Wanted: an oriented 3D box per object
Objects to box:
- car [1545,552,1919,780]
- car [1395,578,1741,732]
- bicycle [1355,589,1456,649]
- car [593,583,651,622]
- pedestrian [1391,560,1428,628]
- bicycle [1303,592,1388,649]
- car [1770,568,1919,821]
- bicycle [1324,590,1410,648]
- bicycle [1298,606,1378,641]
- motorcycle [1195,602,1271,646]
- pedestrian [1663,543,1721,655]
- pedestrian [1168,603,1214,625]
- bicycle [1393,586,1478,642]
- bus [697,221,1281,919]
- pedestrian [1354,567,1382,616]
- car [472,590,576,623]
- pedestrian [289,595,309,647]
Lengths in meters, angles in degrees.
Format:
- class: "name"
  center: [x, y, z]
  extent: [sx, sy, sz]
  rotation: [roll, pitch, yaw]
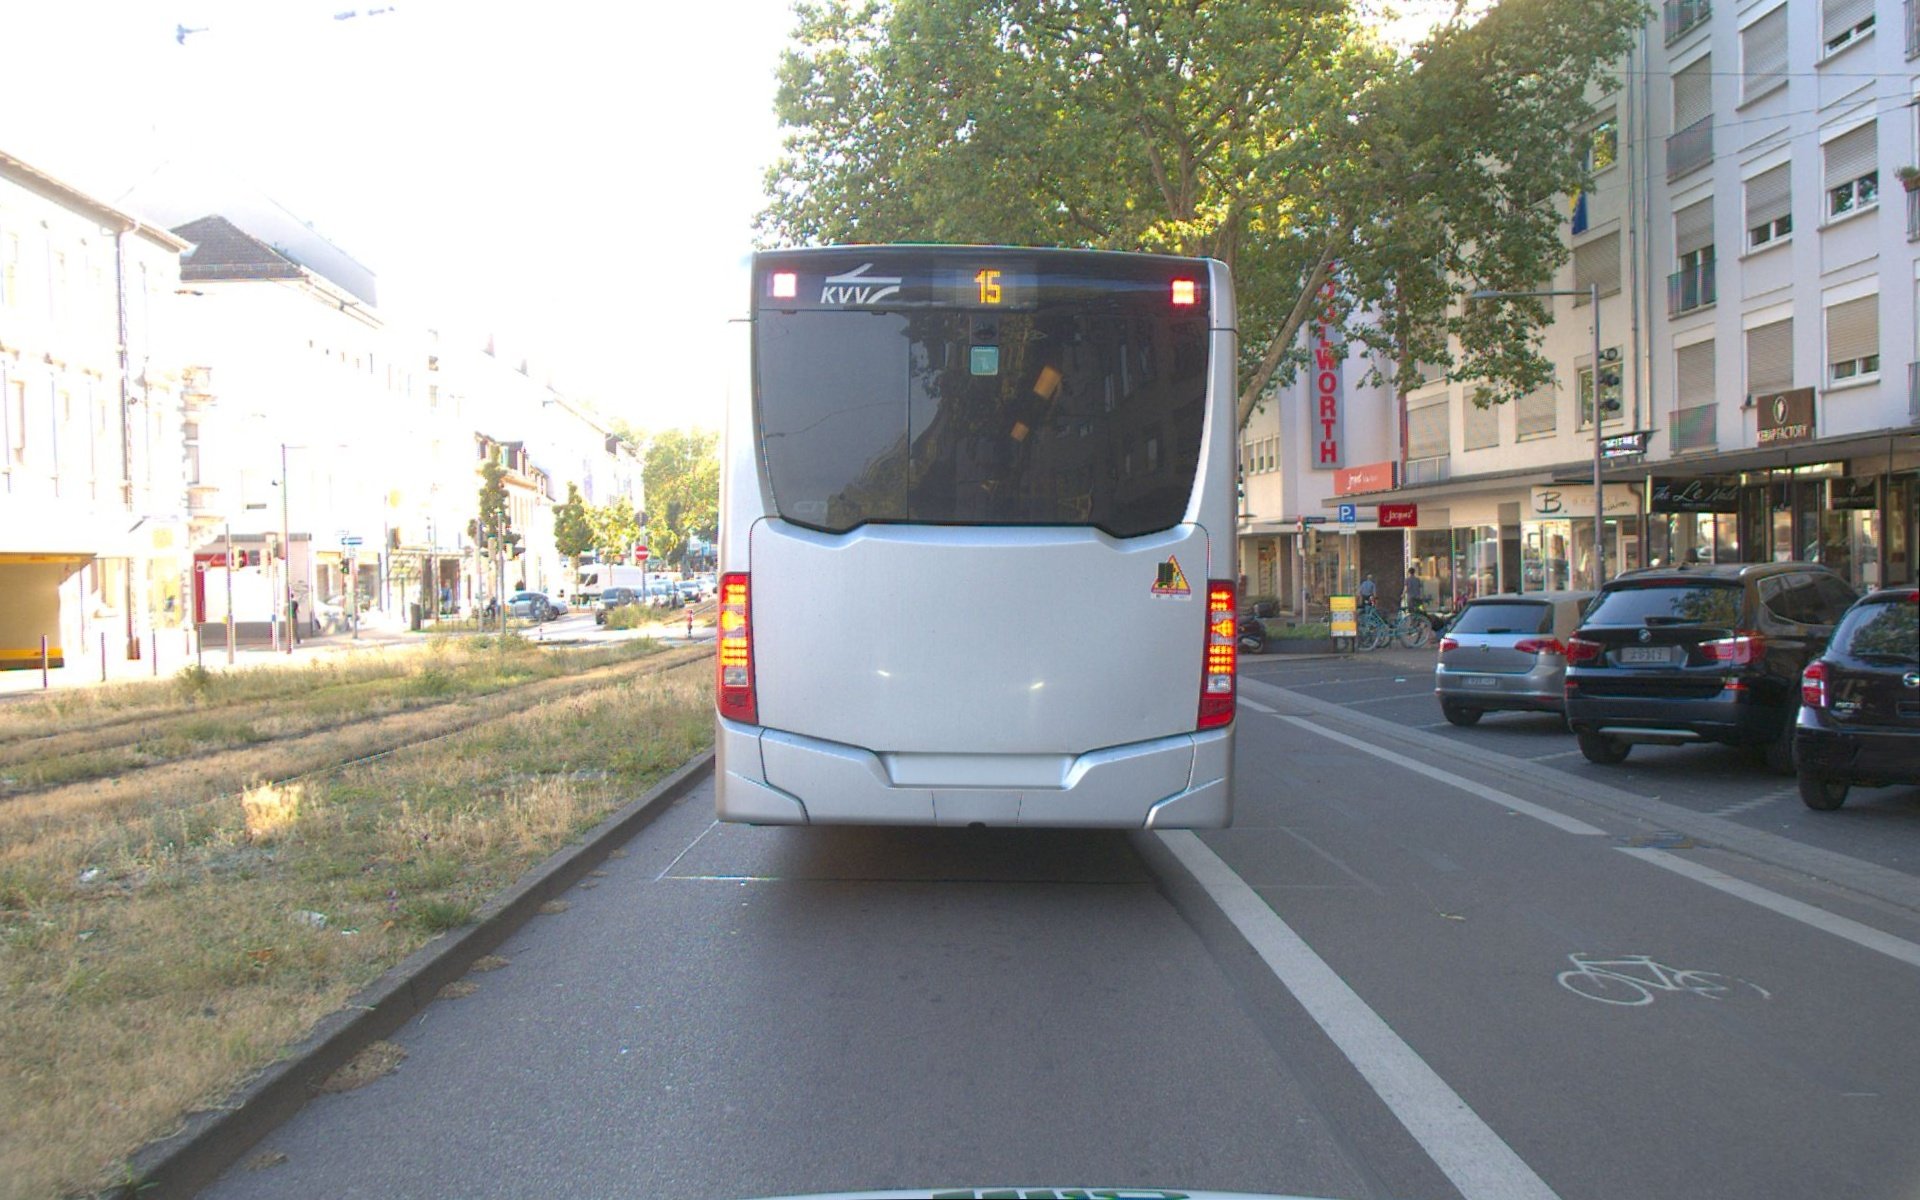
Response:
- class: "car"
  center: [7.028, 0.464, 14.540]
  extent: [4.115, 1.710, 1.782]
  rotation: [-2, 1, -42]
- class: "car"
  center: [6.900, 0.542, 18.597]
  extent: [4.136, 1.477, 1.785]
  rotation: [-2, 1, -39]
- class: "bicycle"
  center: [9.987, 0.416, 37.164]
  extent: [2.037, 1.254, 0.832]
  rotation: [-2, 0, 4]
- class: "car"
  center: [-14.580, 0.106, 71.452]
  extent: [1.687, 1.535, 3.476]
  rotation: [-4, 1, 0]
- class: "pedestrian"
  center: [12.232, -0.175, 44.974]
  extent: [0.764, 1.825, 0.764]
  rotation: [-1, 0, -1]
- class: "bicycle"
  center: [9.228, 0.485, 39.635]
  extent: [1.836, 1.210, 0.712]
  rotation: [-4, 0, 8]
- class: "car"
  center: [7.267, 0.550, 11.487]
  extent: [3.577, 1.567, 1.715]
  rotation: [-2, 1, -42]
- class: "bicycle"
  center: [9.499, 0.435, 38.628]
  extent: [1.753, 1.210, 0.671]
  rotation: [-4, 0, -9]
- class: "bicycle"
  center: [9.252, 0.578, 40.518]
  extent: [1.836, 0.778, 0.712]
  rotation: [-1, 2, 8]
- class: "motorcycle"
  center: [5.989, 0.527, 36.342]
  extent: [1.539, 0.908, 0.544]
  rotation: [-2, 0, -4]
- class: "pedestrian"
  center: [12.808, -0.022, 28.957]
  extent: [0.629, 1.909, 0.825]
  rotation: [-1, 0, 2]
- class: "pedestrian"
  center: [6.613, 0.398, 47.292]
  extent: [1.229, 0.599, 0.482]
  rotation: [-1, 0, -3]
- class: "bicycle"
  center: [10.789, 0.324, 37.565]
  extent: [1.726, 1.174, 0.679]
  rotation: [-3, 0, 8]
- class: "bus"
  center: [0.156, -0.190, 10.996]
  extent: [2.623, 3.137, 7.115]
  rotation: [0, 1, 0]
- class: "pedestrian"
  center: [14.531, -0.303, 58.958]
  extent: [0.733, 1.708, 0.834]
  rotation: [-1, 2, -7]
- class: "car"
  center: [-21.222, 0.300, 80.643]
  extent: [4.504, 1.437, 1.974]
  rotation: [-2, 1, -37]
- class: "pedestrian"
  center: [-22.368, 0.707, 55.937]
  extent: [0.417, 1.743, 0.508]
  rotation: [-1, 0, 3]
